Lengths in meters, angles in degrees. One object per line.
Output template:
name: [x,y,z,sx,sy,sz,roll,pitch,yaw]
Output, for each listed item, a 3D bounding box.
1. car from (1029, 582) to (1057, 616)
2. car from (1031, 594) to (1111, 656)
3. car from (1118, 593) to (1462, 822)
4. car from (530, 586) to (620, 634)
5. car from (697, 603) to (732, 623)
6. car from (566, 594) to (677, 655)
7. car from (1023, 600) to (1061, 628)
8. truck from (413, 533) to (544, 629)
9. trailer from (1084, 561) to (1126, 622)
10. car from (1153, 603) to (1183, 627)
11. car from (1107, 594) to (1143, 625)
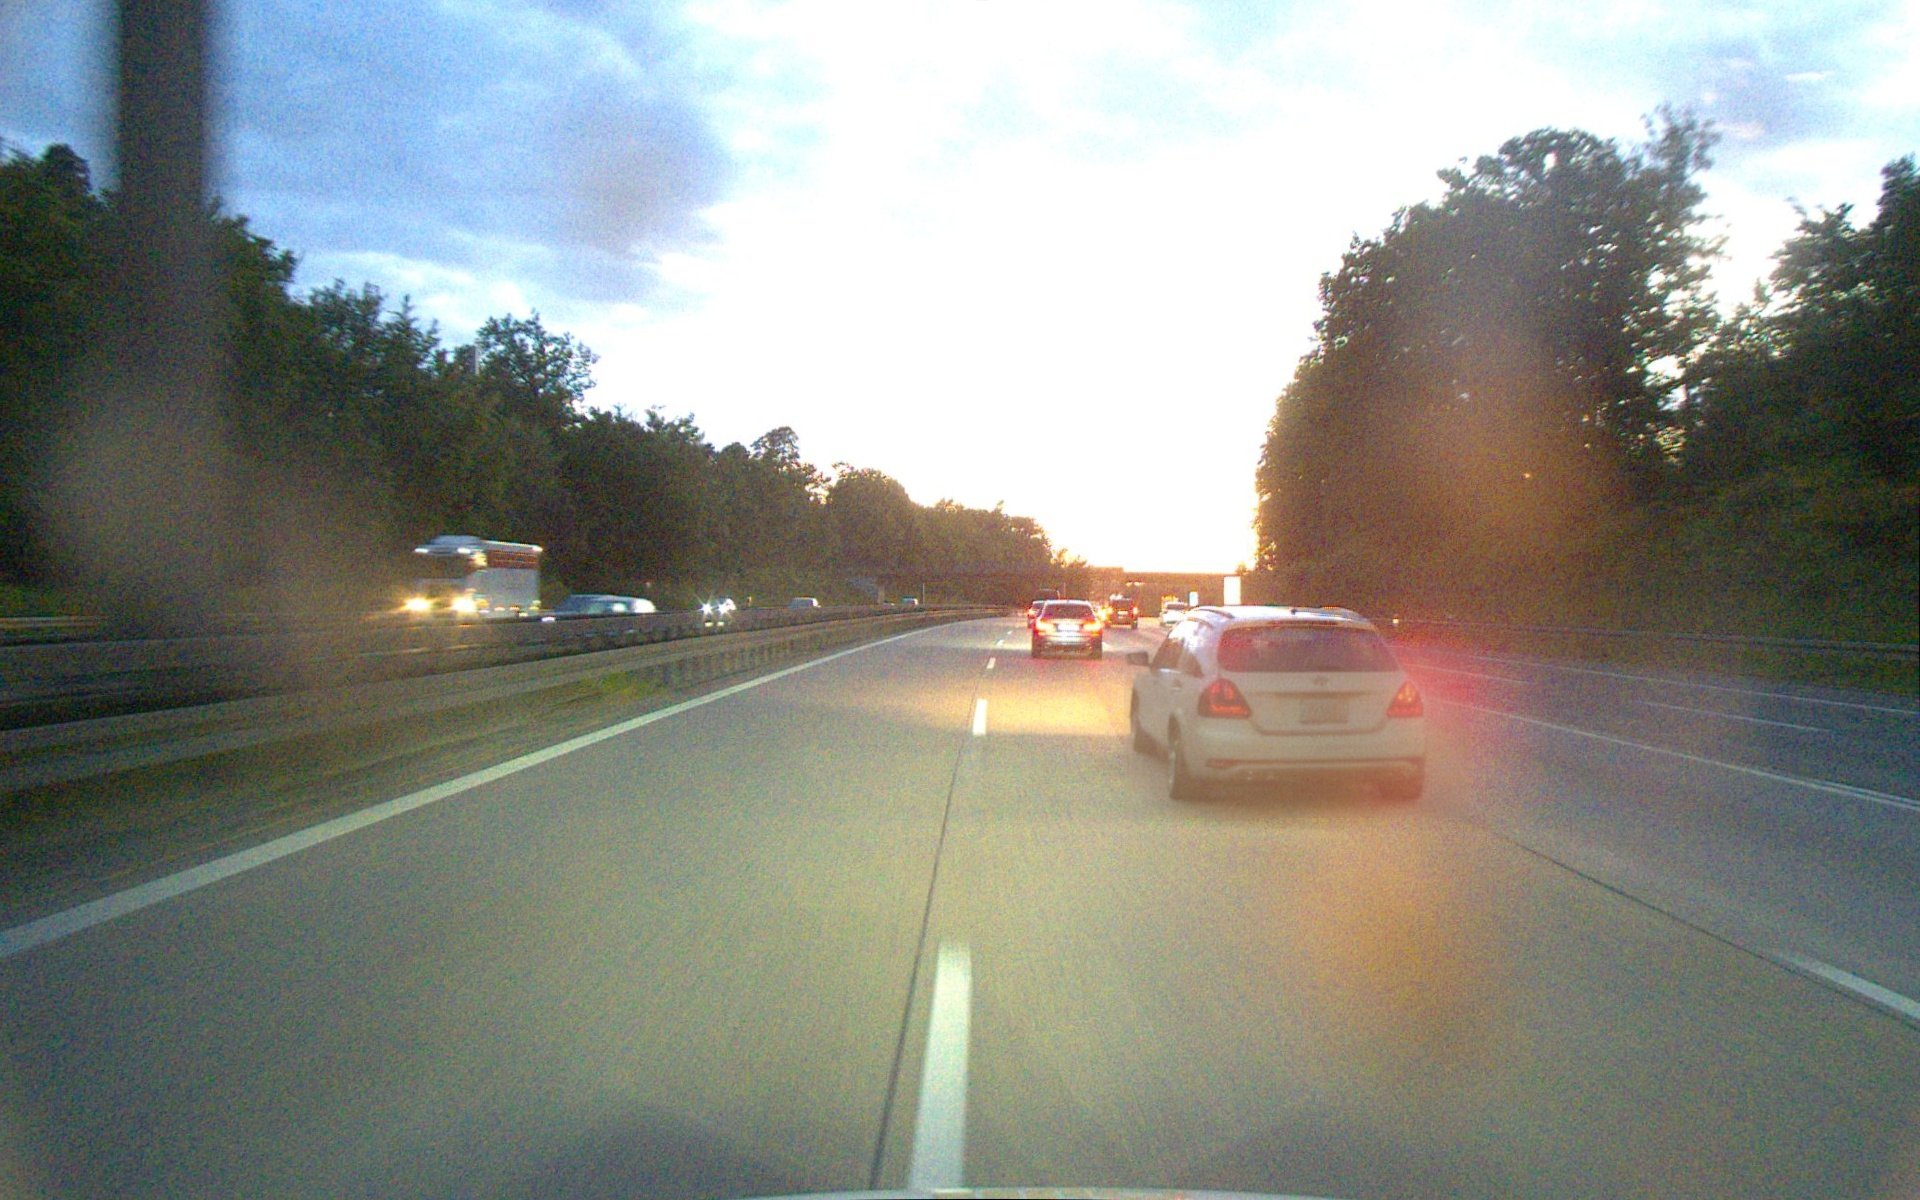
car: [6.411,-0.031,128.101,2.121,2.461,5.564,1,-2,2]
car: [2.918,0.615,44.594,1.870,1.564,5.232,0,0,1]
car: [2.453,0.711,13.630,1.772,1.491,5.131,0,1,-1]
car: [-11.888,0.290,51.350,1.702,1.435,4.806,0,0,-1]
car: [-19.304,0.997,130.296,1.812,1.523,4.596,0,0,3]
car: [-8.487,0.583,41.846,1.953,1.462,4.372,0,0,-1]
car: [4.405,0.747,89.732,1.821,1.467,3.719,0,0,-1]
truck: [-22.061,-0.826,76.501,2.590,4.081,10.547,1,0,2]
trailer: [10.807,-0.514,124.007,2.846,4.173,10.360,1,-2,3]
car: [13.571,0.980,107.842,1.819,1.467,4.114,0,-1,9]
car: [9.297,0.565,92.969,1.862,1.672,5.055,0,-1,7]
